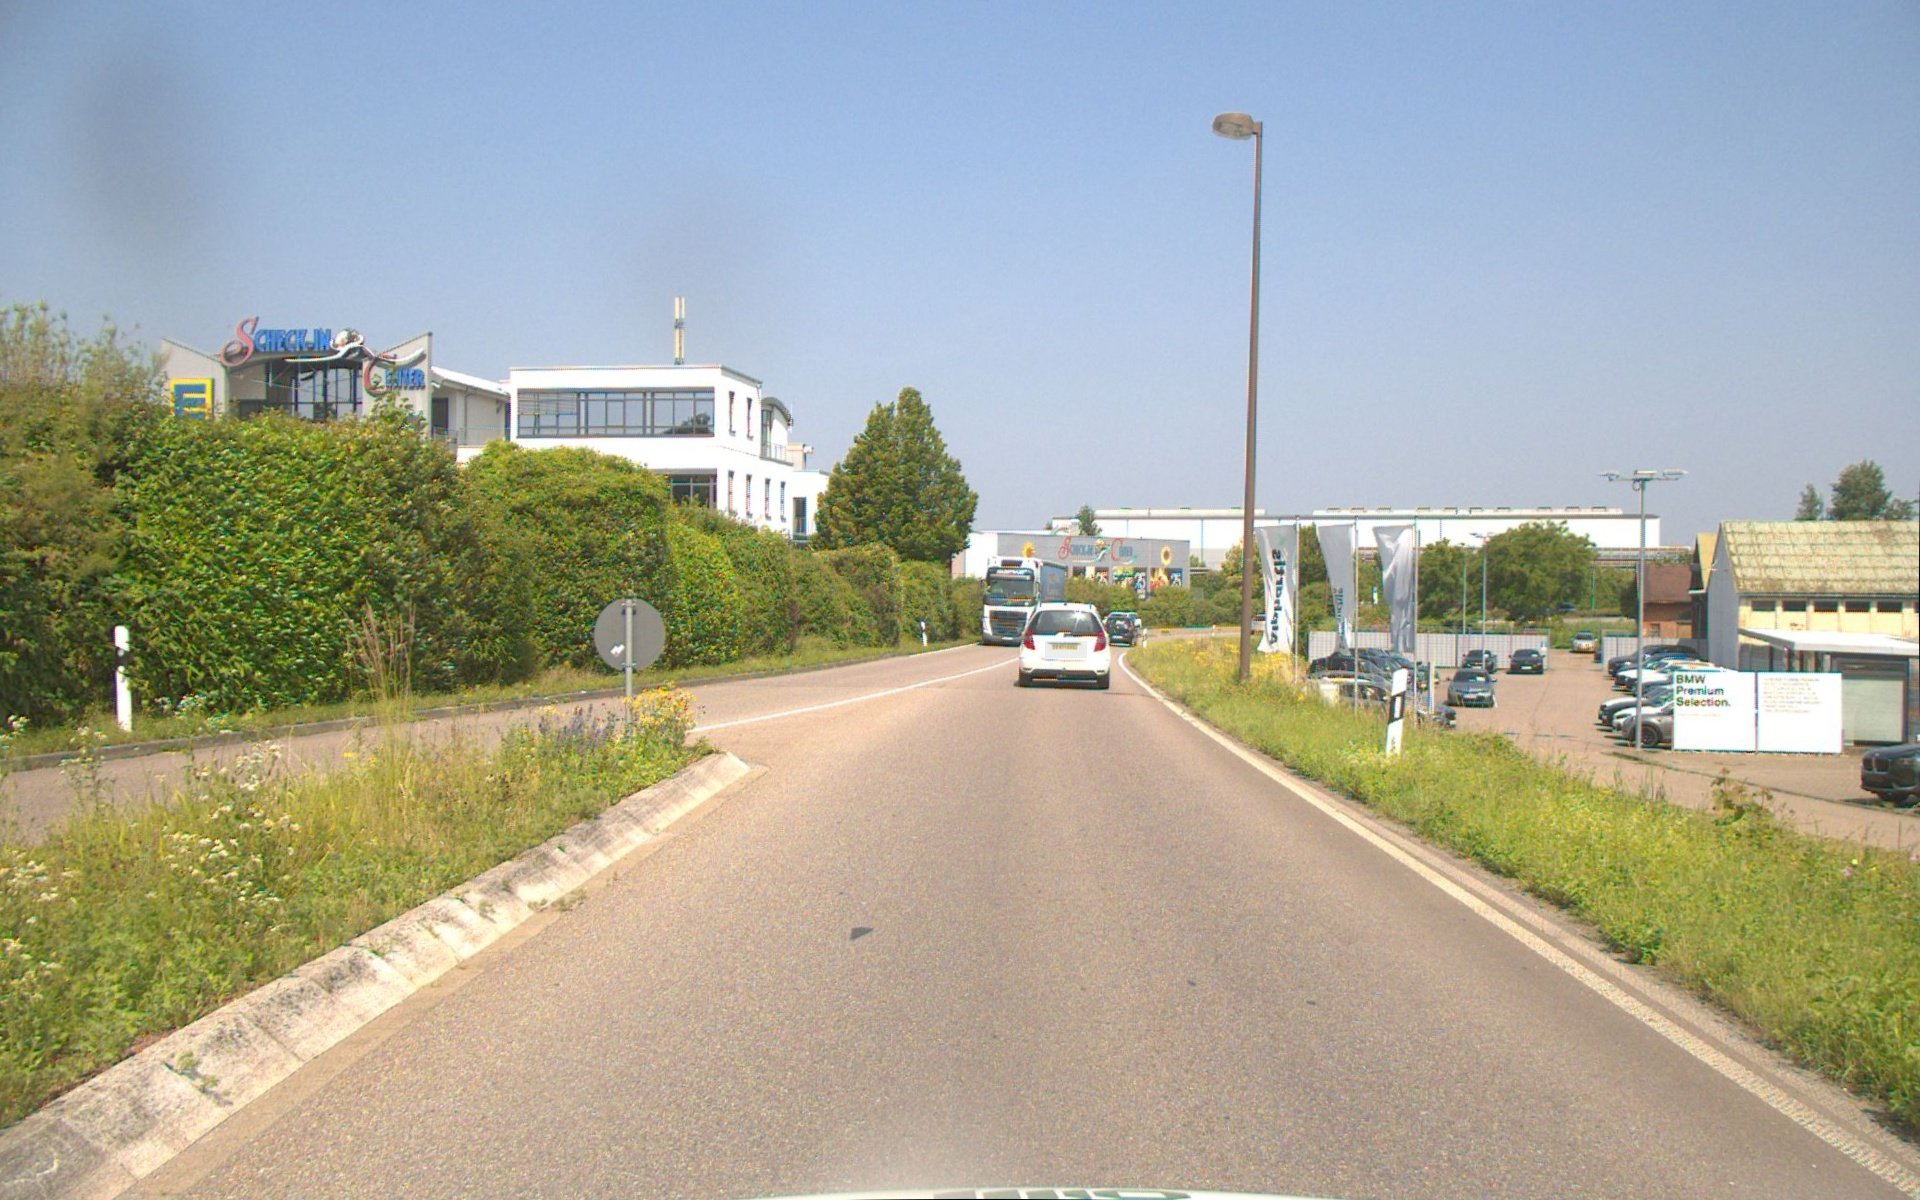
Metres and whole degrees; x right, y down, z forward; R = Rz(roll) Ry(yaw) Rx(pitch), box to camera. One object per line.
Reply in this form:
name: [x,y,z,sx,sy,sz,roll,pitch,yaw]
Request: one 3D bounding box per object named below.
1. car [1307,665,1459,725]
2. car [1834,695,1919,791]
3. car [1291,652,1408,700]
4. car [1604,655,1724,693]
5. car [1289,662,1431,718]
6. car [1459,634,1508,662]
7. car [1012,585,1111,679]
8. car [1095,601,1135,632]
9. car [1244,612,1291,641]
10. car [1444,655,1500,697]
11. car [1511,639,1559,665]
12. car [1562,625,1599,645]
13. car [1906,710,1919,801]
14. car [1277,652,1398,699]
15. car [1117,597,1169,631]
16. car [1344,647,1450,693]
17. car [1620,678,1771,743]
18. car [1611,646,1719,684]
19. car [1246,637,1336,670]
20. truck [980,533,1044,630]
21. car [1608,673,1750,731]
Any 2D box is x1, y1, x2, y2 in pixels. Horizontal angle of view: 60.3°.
car: [12.665,2.818,49.644,4.092,1.550,1.682,1,-1,38]
car: [19.164,2.690,31.084,4.393,1.669,2.145,1,-2,-5]
car: [16.620,3.206,70.664,4.555,1.730,1.848,2,2,39]
car: [31.480,3.307,74.059,4.551,1.550,1.911,1,-1,-1]
car: [12.861,2.853,53.231,4.086,1.550,1.746,1,-1,34]
car: [31.144,2.855,98.359,1.816,1.561,4.634,1,-1,30]
car: [2.015,0.587,32.369,1.744,1.631,3.895,3,0,4]
car: [8.099,0.873,85.984,1.790,1.496,4.413,2,0,8]
car: [22.576,1.930,121.449,1.959,2.049,3.986,1,-1,34]
car: [21.119,3.101,68.168,2.090,1.483,4.534,2,0,18]
car: [33.867,3.044,97.408,1.956,1.422,3.992,1,-1,30]
car: [46.573,2.643,124.130,1.956,1.422,3.992,1,-1,30]
car: [18.809,2.707,28.489,3.909,1.579,1.998,0,-3,-5]
car: [14.232,2.812,62.423,4.086,1.550,1.850,1,-1,34]
car: [11.776,0.905,106.501,1.955,2.049,3.994,1,-1,28]
car: [19.344,3.067,73.359,4.161,1.730,1.907,2,2,42]
car: [20.849,3.094,46.905,3.723,1.550,1.747,1,-1,32]
car: [30.498,2.801,71.583,3.916,1.550,1.758,1,-1,-1]
car: [18.404,2.945,92.099,4.547,1.633,1.851,1,0,33]
truck: [2.467,-0.787,76.680,2.459,4.332,6.117,0,-1,7]
car: [21.808,3.054,50.163,3.880,1.550,1.750,1,-1,26]
